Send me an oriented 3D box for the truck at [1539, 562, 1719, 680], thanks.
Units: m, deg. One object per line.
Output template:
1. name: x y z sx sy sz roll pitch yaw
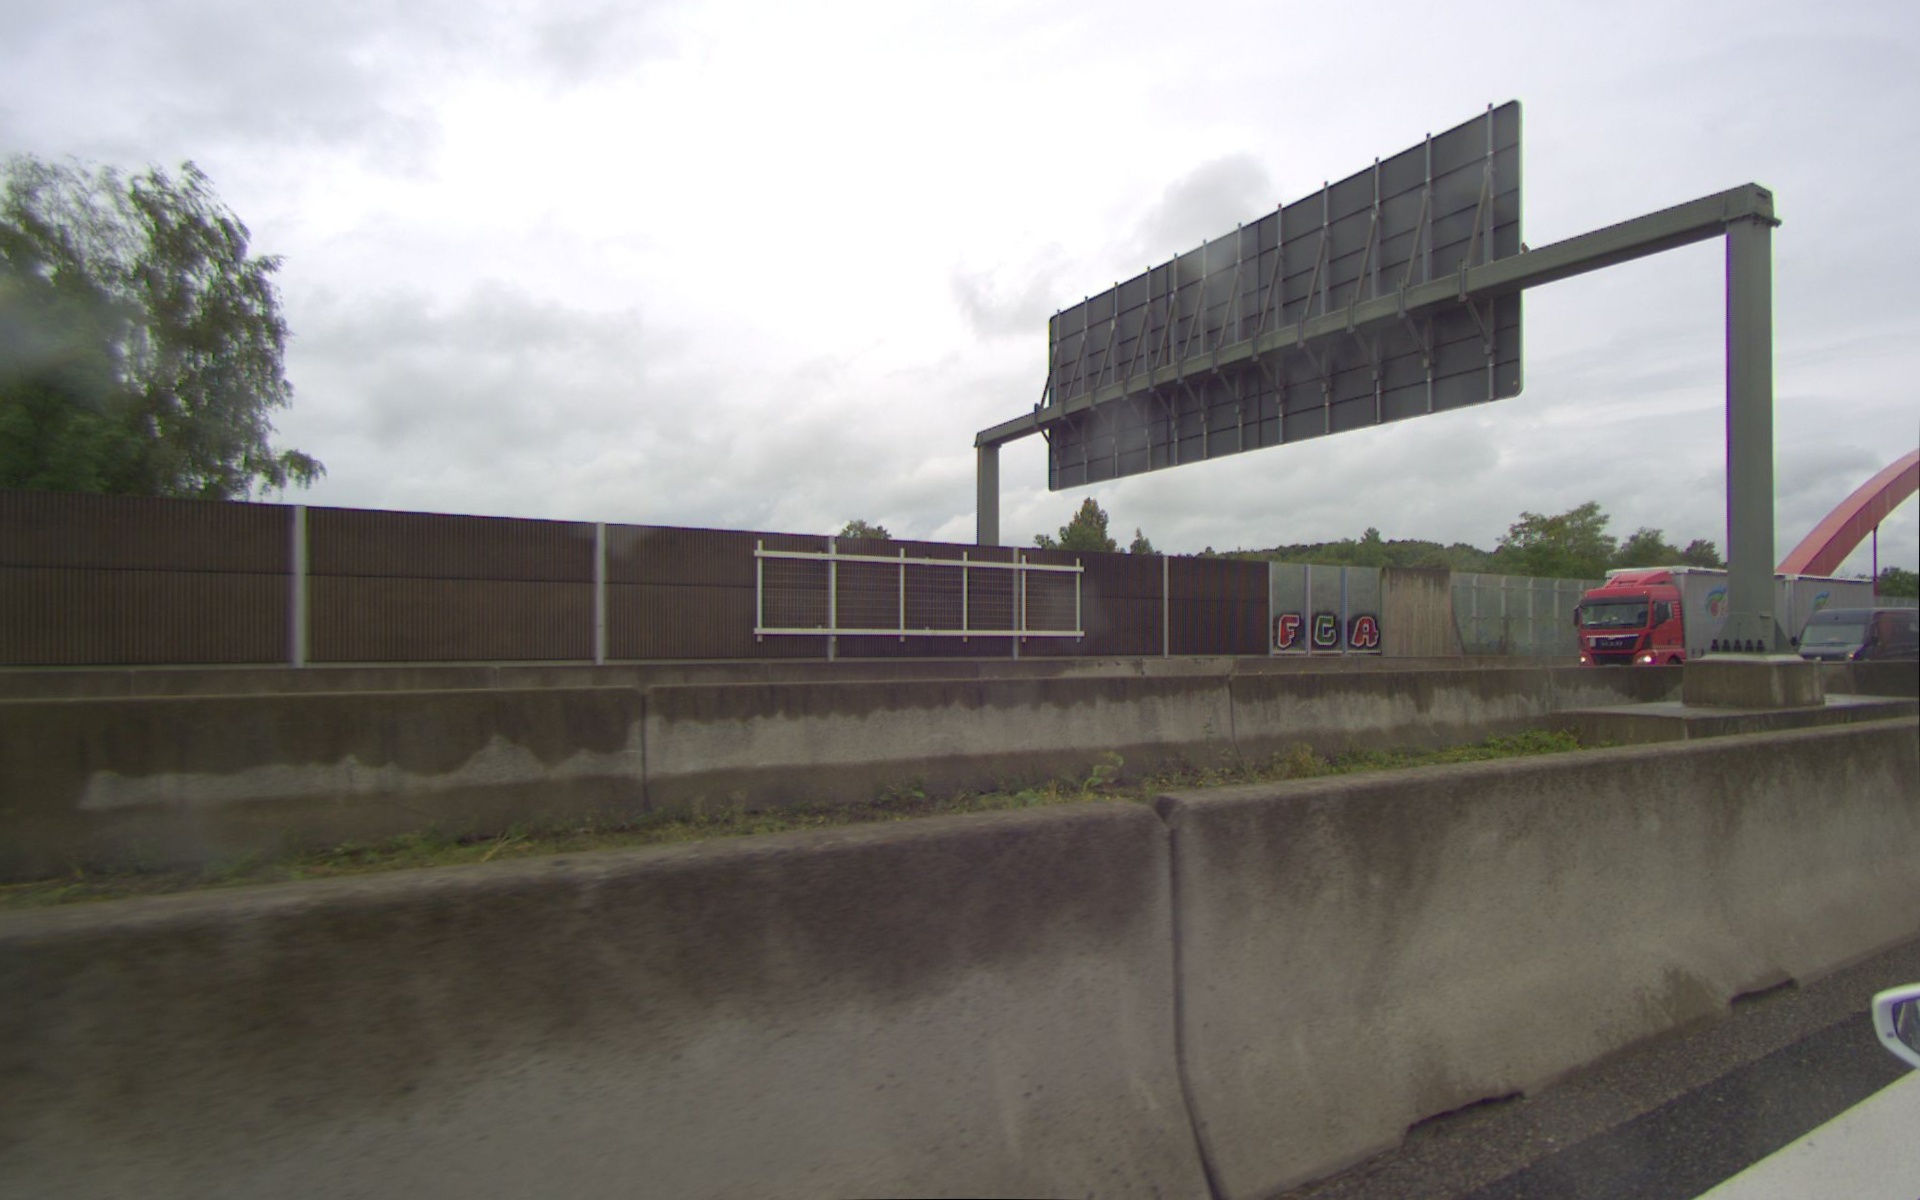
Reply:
1. truck: 23.303 0.730 34.939 5.849 3.803 2.969 1 0 -31

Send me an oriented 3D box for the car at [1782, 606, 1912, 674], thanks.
1. car: 29.888 1.316 33.838 4.478 2.141 1.984 1 0 -30

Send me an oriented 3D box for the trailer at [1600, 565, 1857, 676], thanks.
1. trailer: 30.254 0.840 39.167 14.143 3.778 2.969 1 0 -31
